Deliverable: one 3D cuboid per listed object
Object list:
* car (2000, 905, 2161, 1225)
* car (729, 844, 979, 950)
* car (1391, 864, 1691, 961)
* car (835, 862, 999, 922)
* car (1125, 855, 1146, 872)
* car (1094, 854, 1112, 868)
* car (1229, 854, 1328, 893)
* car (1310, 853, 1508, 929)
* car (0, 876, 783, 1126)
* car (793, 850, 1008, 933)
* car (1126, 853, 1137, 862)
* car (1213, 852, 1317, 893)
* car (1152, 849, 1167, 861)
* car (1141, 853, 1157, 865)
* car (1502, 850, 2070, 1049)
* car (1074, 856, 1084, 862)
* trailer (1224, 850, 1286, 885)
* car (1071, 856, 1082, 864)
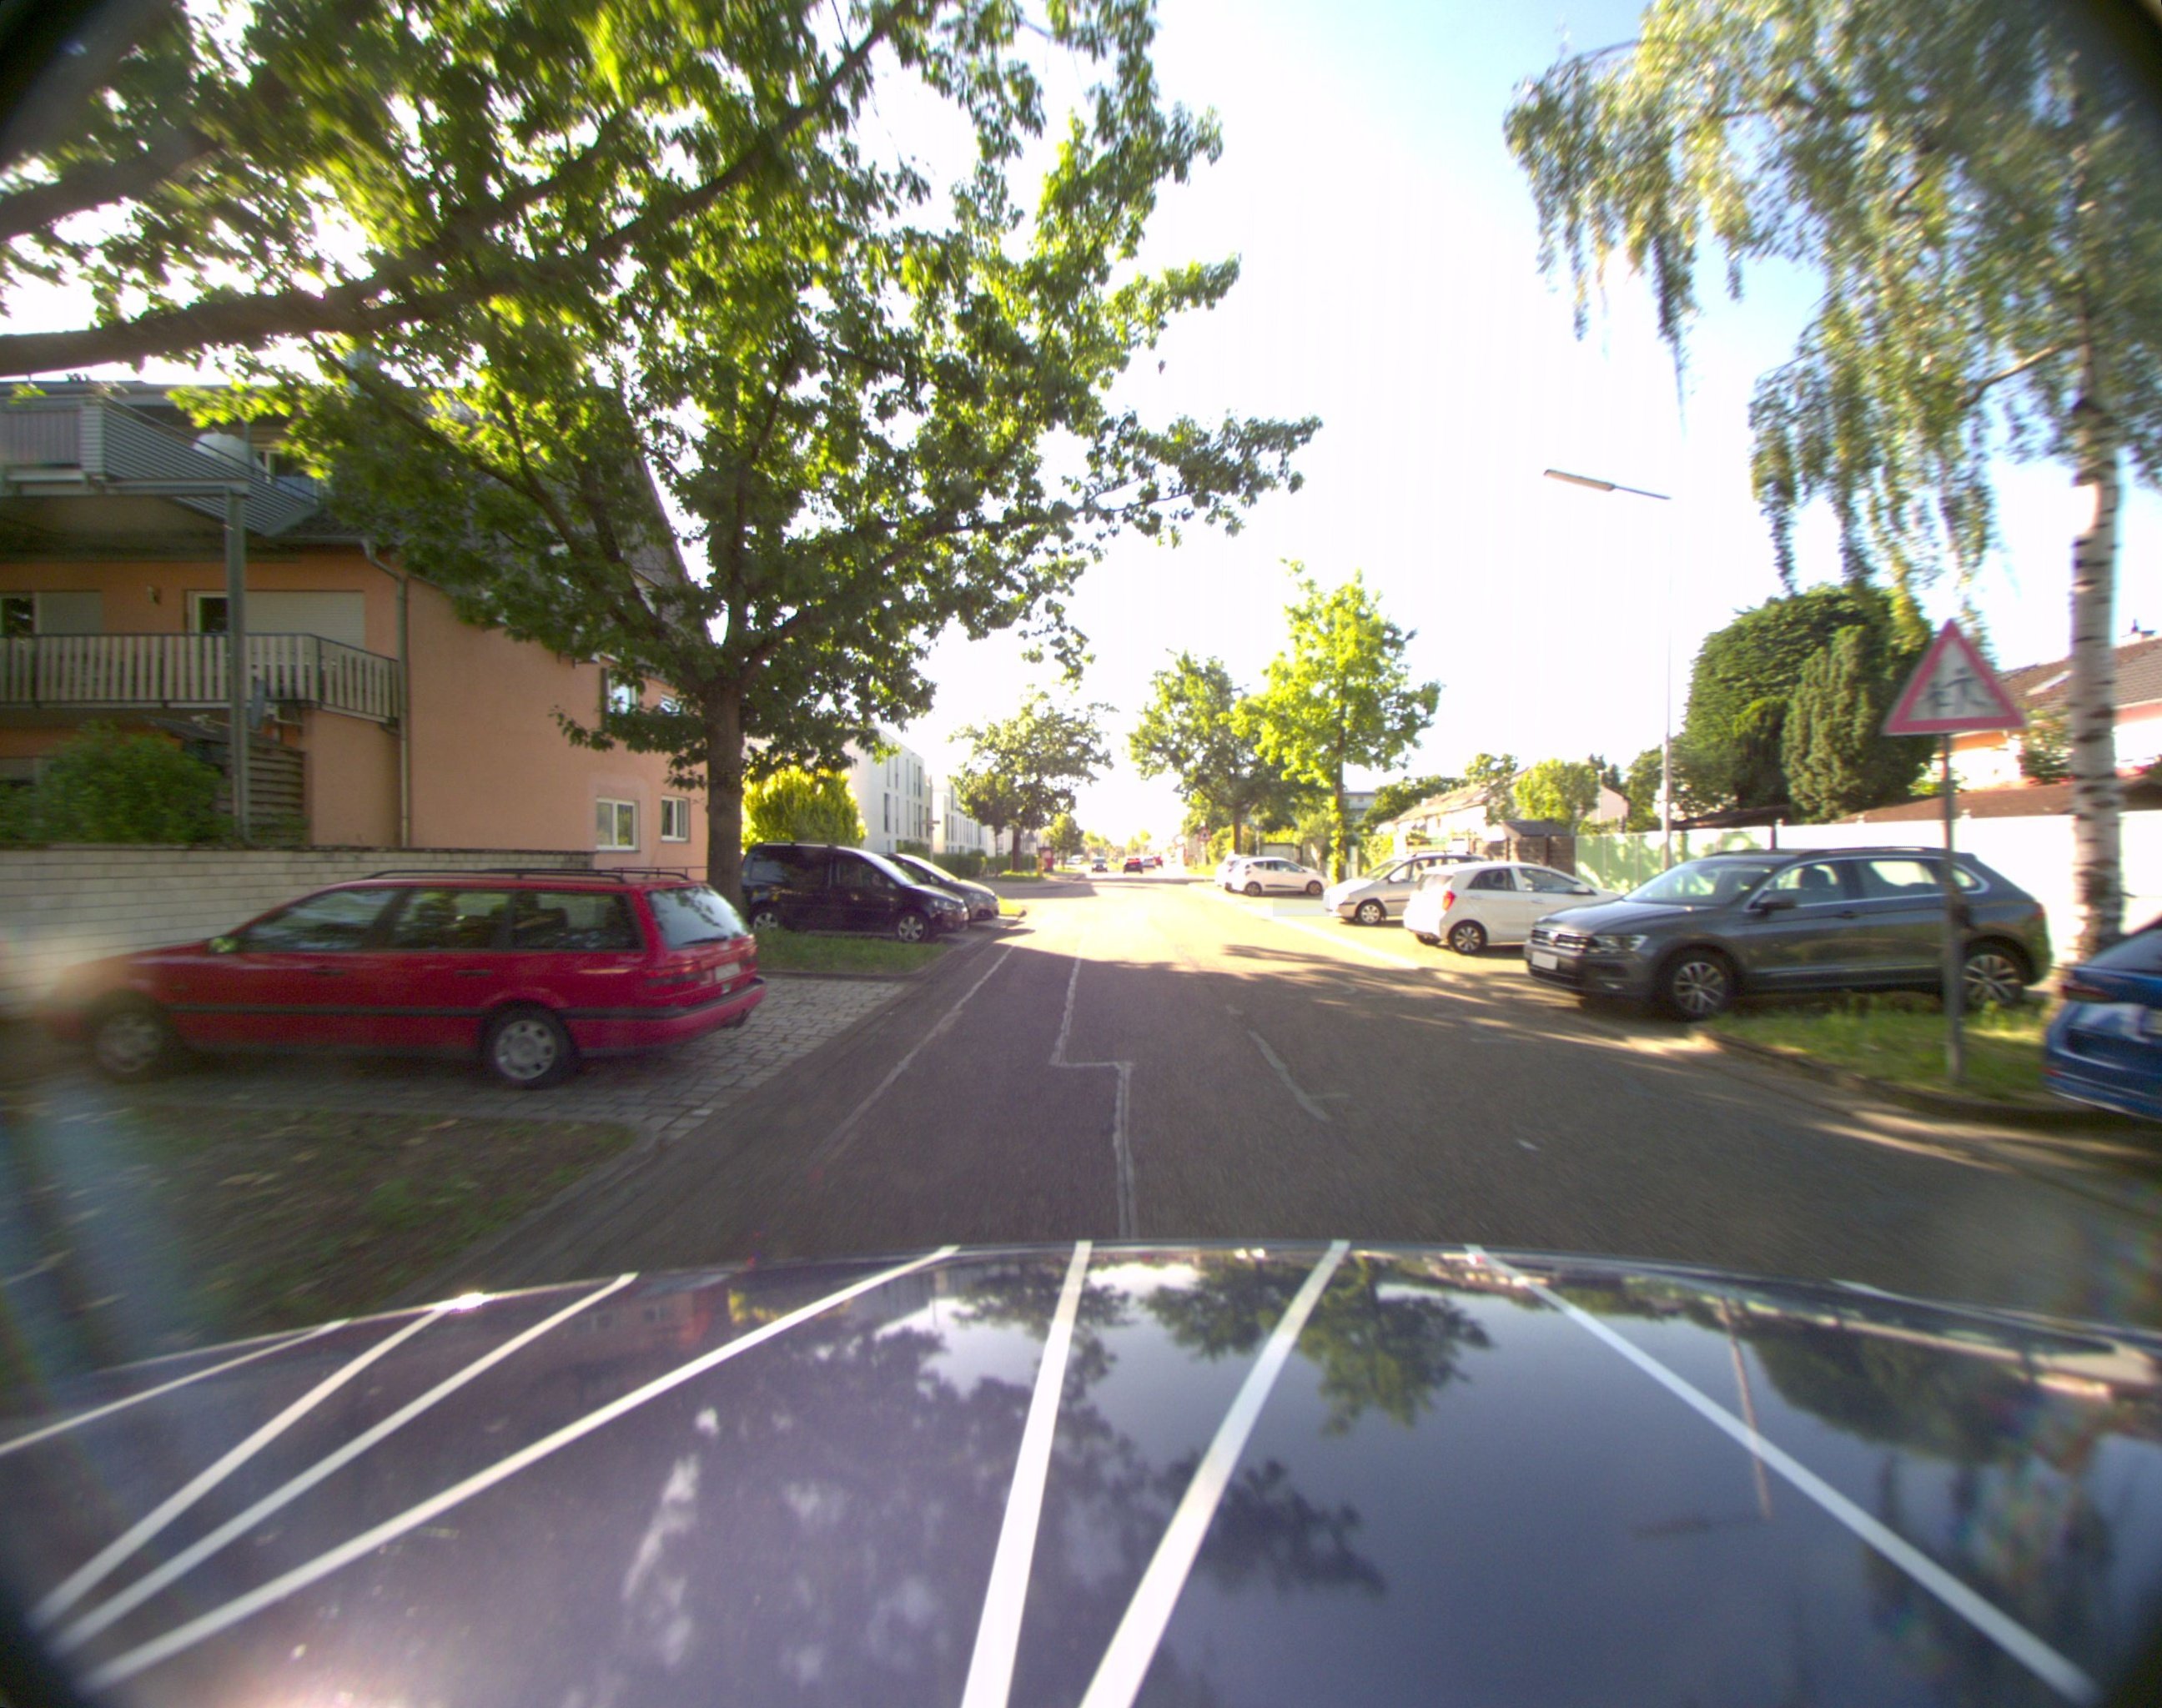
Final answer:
[{"bbox_3d":[7.092,0.948,3.176,4.281,1.416,1.724,-2,0,2],"label":"car"},{"bbox_3d":[-4.258,0.772,14.712,4.222,1.771,1.789,2,0,1],"label":"car"},{"bbox_3d":[7.662,0.953,12.972,4.011,1.506,1.795,0,0,2],"label":"car"},{"bbox_3d":[-4.289,0.974,20.325,3.955,1.353,1.683,2,0,0],"label":"car"},{"bbox_3d":[4.951,0.836,68.986,1.742,1.532,3.947,0,0,2],"label":"car"},{"bbox_3d":[2.443,0.757,82.910,1.877,1.469,3.851,0,0,3],"label":"car"},{"bbox_3d":[7.835,0.755,30.318,3.523,1.487,1.708,0,0,-1],"label":"car"},{"bbox_3d":[7.703,0.849,18.119,3.948,1.604,1.706,-2,0,2],"label":"car"},{"bbox_3d":[-4.907,0.966,5.791,4.513,1.437,1.838,1,0,1],"label":"car"},{"bbox_3d":[-4.101,0.830,17.784,4.514,1.670,1.879,2,1,0],"label":"car"},{"bbox_3d":[8.916,0.612,134.662,1.877,1.470,3.851,0,1,3],"label":"car"},{"bbox_3d":[7.937,0.764,32.987,3.965,1.565,1.921,-2,1,-5],"label":"car"},{"bbox_3d":[9.976,0.179,97.111,1.765,1.469,3.852,0,0,3],"label":"car"},{"bbox_3d":[8.016,0.545,90.258,1.765,1.390,3.851,0,0,4],"label":"car"},{"bbox_3d":[6.970,0.876,7.869,4.220,1.714,1.760,-2,0,0],"label":"car"},{"bbox_3d":[-0.468,1.091,161.003,1.830,1.324,3.678,0,0,4],"label":"car"},{"bbox_3d":[8.699,0.681,38.076,2.766,1.638,1.299,-1,2,-3],"label":"trailer"},{"bbox_3d":[-0.958,1.185,153.481,1.944,1.412,4.000,0,1,3],"label":"car"}]
